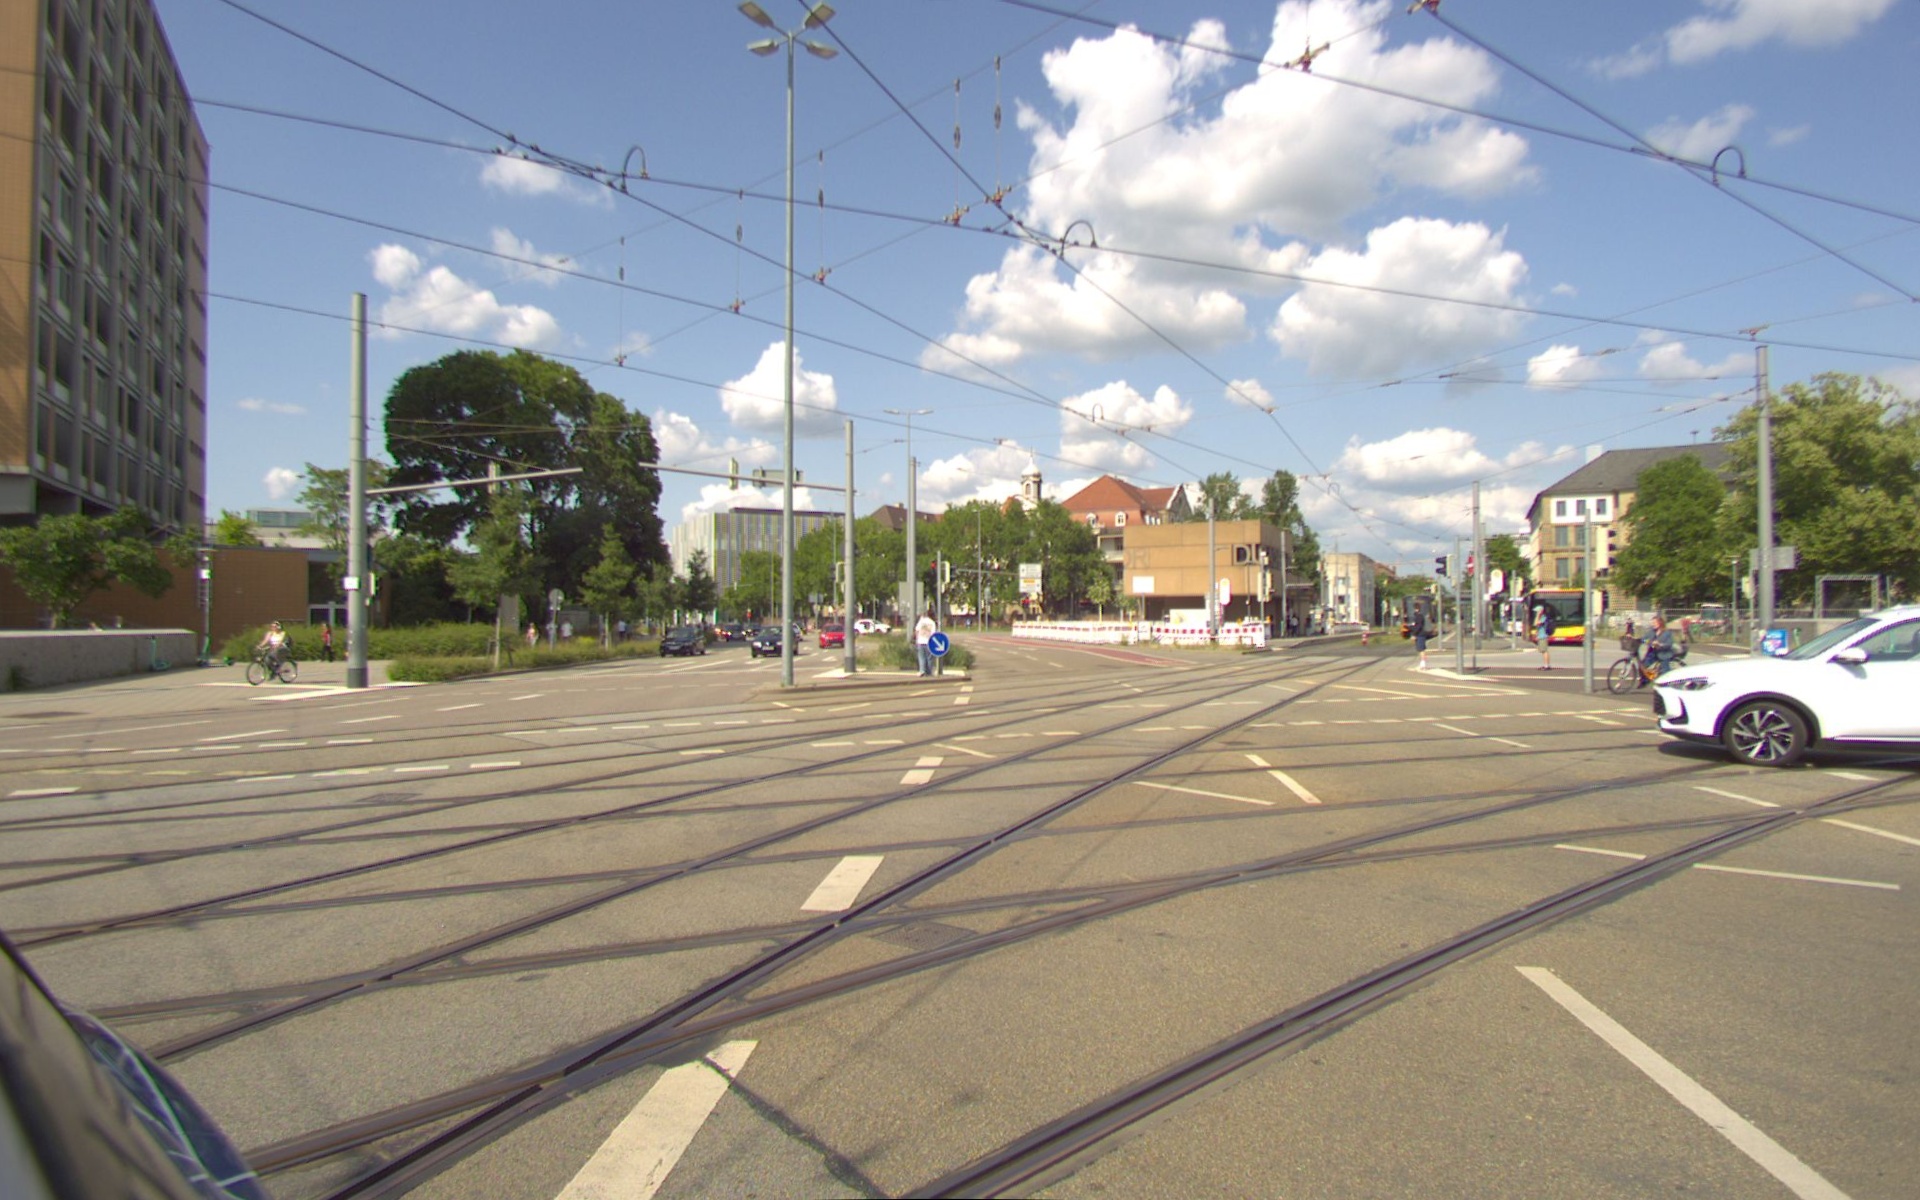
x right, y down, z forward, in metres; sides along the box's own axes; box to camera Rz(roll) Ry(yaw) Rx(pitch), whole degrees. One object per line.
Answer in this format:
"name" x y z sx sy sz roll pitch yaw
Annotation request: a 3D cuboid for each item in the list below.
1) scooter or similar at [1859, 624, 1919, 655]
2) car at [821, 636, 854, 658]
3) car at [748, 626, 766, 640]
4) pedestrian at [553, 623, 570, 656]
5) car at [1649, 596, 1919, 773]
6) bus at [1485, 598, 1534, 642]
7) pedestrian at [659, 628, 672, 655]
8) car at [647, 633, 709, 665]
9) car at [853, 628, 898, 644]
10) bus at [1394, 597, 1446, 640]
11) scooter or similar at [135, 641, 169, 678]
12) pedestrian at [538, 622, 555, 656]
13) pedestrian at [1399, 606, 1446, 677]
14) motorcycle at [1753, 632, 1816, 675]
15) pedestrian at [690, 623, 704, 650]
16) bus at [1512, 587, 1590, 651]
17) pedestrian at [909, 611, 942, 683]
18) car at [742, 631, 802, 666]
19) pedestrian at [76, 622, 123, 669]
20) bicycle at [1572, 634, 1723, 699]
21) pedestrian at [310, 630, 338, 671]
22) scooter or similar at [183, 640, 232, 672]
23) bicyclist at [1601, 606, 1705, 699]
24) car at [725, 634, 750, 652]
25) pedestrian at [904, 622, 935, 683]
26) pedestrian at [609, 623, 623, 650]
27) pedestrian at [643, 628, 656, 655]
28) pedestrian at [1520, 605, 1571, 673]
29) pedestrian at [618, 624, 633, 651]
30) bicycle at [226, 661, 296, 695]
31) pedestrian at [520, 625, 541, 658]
"scooter or similar" 35.484 1.515 38.551 1.639 1.114 0.844 -3 -1 30
"car" -7.126 2.703 59.089 1.575 1.142 3.630 -2 -1 -1
"car" -21.692 3.553 108.105 1.878 1.446 4.112 -1 -1 -12
"pedestrian" -20.982 2.065 53.303 0.606 1.713 0.891 2 -1 -9
"car" 9.636 0.811 10.254 4.275 1.652 2.020 -1 -2 33
"bus" 50.962 1.943 93.801 3.593 3.659 18.684 -1 -2 29
"pedestrian" -19.977 2.811 68.642 0.756 1.748 0.721 -2 -1 -12
"car" -14.455 2.485 52.075 1.803 1.474 3.994 -1 -1 4
"car" -8.305 3.539 99.316 3.968 1.364 1.769 -2 -1 19
"bus" 39.962 1.711 87.322 3.458 3.208 23.566 -1 -2 26
"scooter or similar" -25.879 1.890 32.440 0.458 1.126 1.451 1 -2 -23
"pedestrian" -21.728 2.048 53.207 0.606 1.713 0.891 2 -1 -9
"pedestrian" 12.929 1.145 28.295 0.755 1.917 0.829 -2 -1 -35
"motorcycle" 24.289 1.558 29.826 1.426 1.246 0.484 0 -1 -1
"pedestrian" -20.482 2.840 78.843 0.950 2.029 0.769 -2 -1 -6
"bus" 32.666 1.081 56.343 2.820 3.160 12.723 -1 -2 27
"pedestrian" -0.932 1.252 27.264 0.837 1.931 0.693 0 -1 -4
"car" -8.561 2.173 46.377 1.803 1.474 3.995 -1 -1 3
"pedestrian" -30.426 1.596 35.797 0.613 1.635 1.086 1 -1 27
"bicycle" 13.176 1.257 19.431 2.265 1.197 0.996 0 -1 -6
"pedestrian" -26.221 2.087 41.730 0.875 1.635 0.617 3 -2 -37
"scooter or similar" -26.508 1.956 35.661 0.466 1.112 1.300 -1 -3 40
"bicyclist" 13.278 0.990 19.423 1.281 1.744 0.996 0 -1 -6
"car" -19.037 3.653 86.673 1.797 1.474 4.008 -1 -1 -9
"pedestrian" -1.139 1.451 28.191 0.837 1.660 0.693 0 -1 -4
"pedestrian" -22.927 2.440 67.439 0.732 1.759 0.891 2 -1 -9
"pedestrian" -20.918 2.779 68.134 0.756 1.748 0.721 -2 -1 -12
"pedestrian" 16.162 1.054 27.967 0.757 1.811 1.027 -2 -1 2
"pedestrian" -22.273 2.466 67.354 0.732 1.767 0.891 2 -1 -9
"bicycle" -19.582 2.167 28.404 0.640 0.887 1.821 1 -2 2
"pedestrian" -21.270 2.051 50.157 0.607 1.635 0.889 2 -1 0
